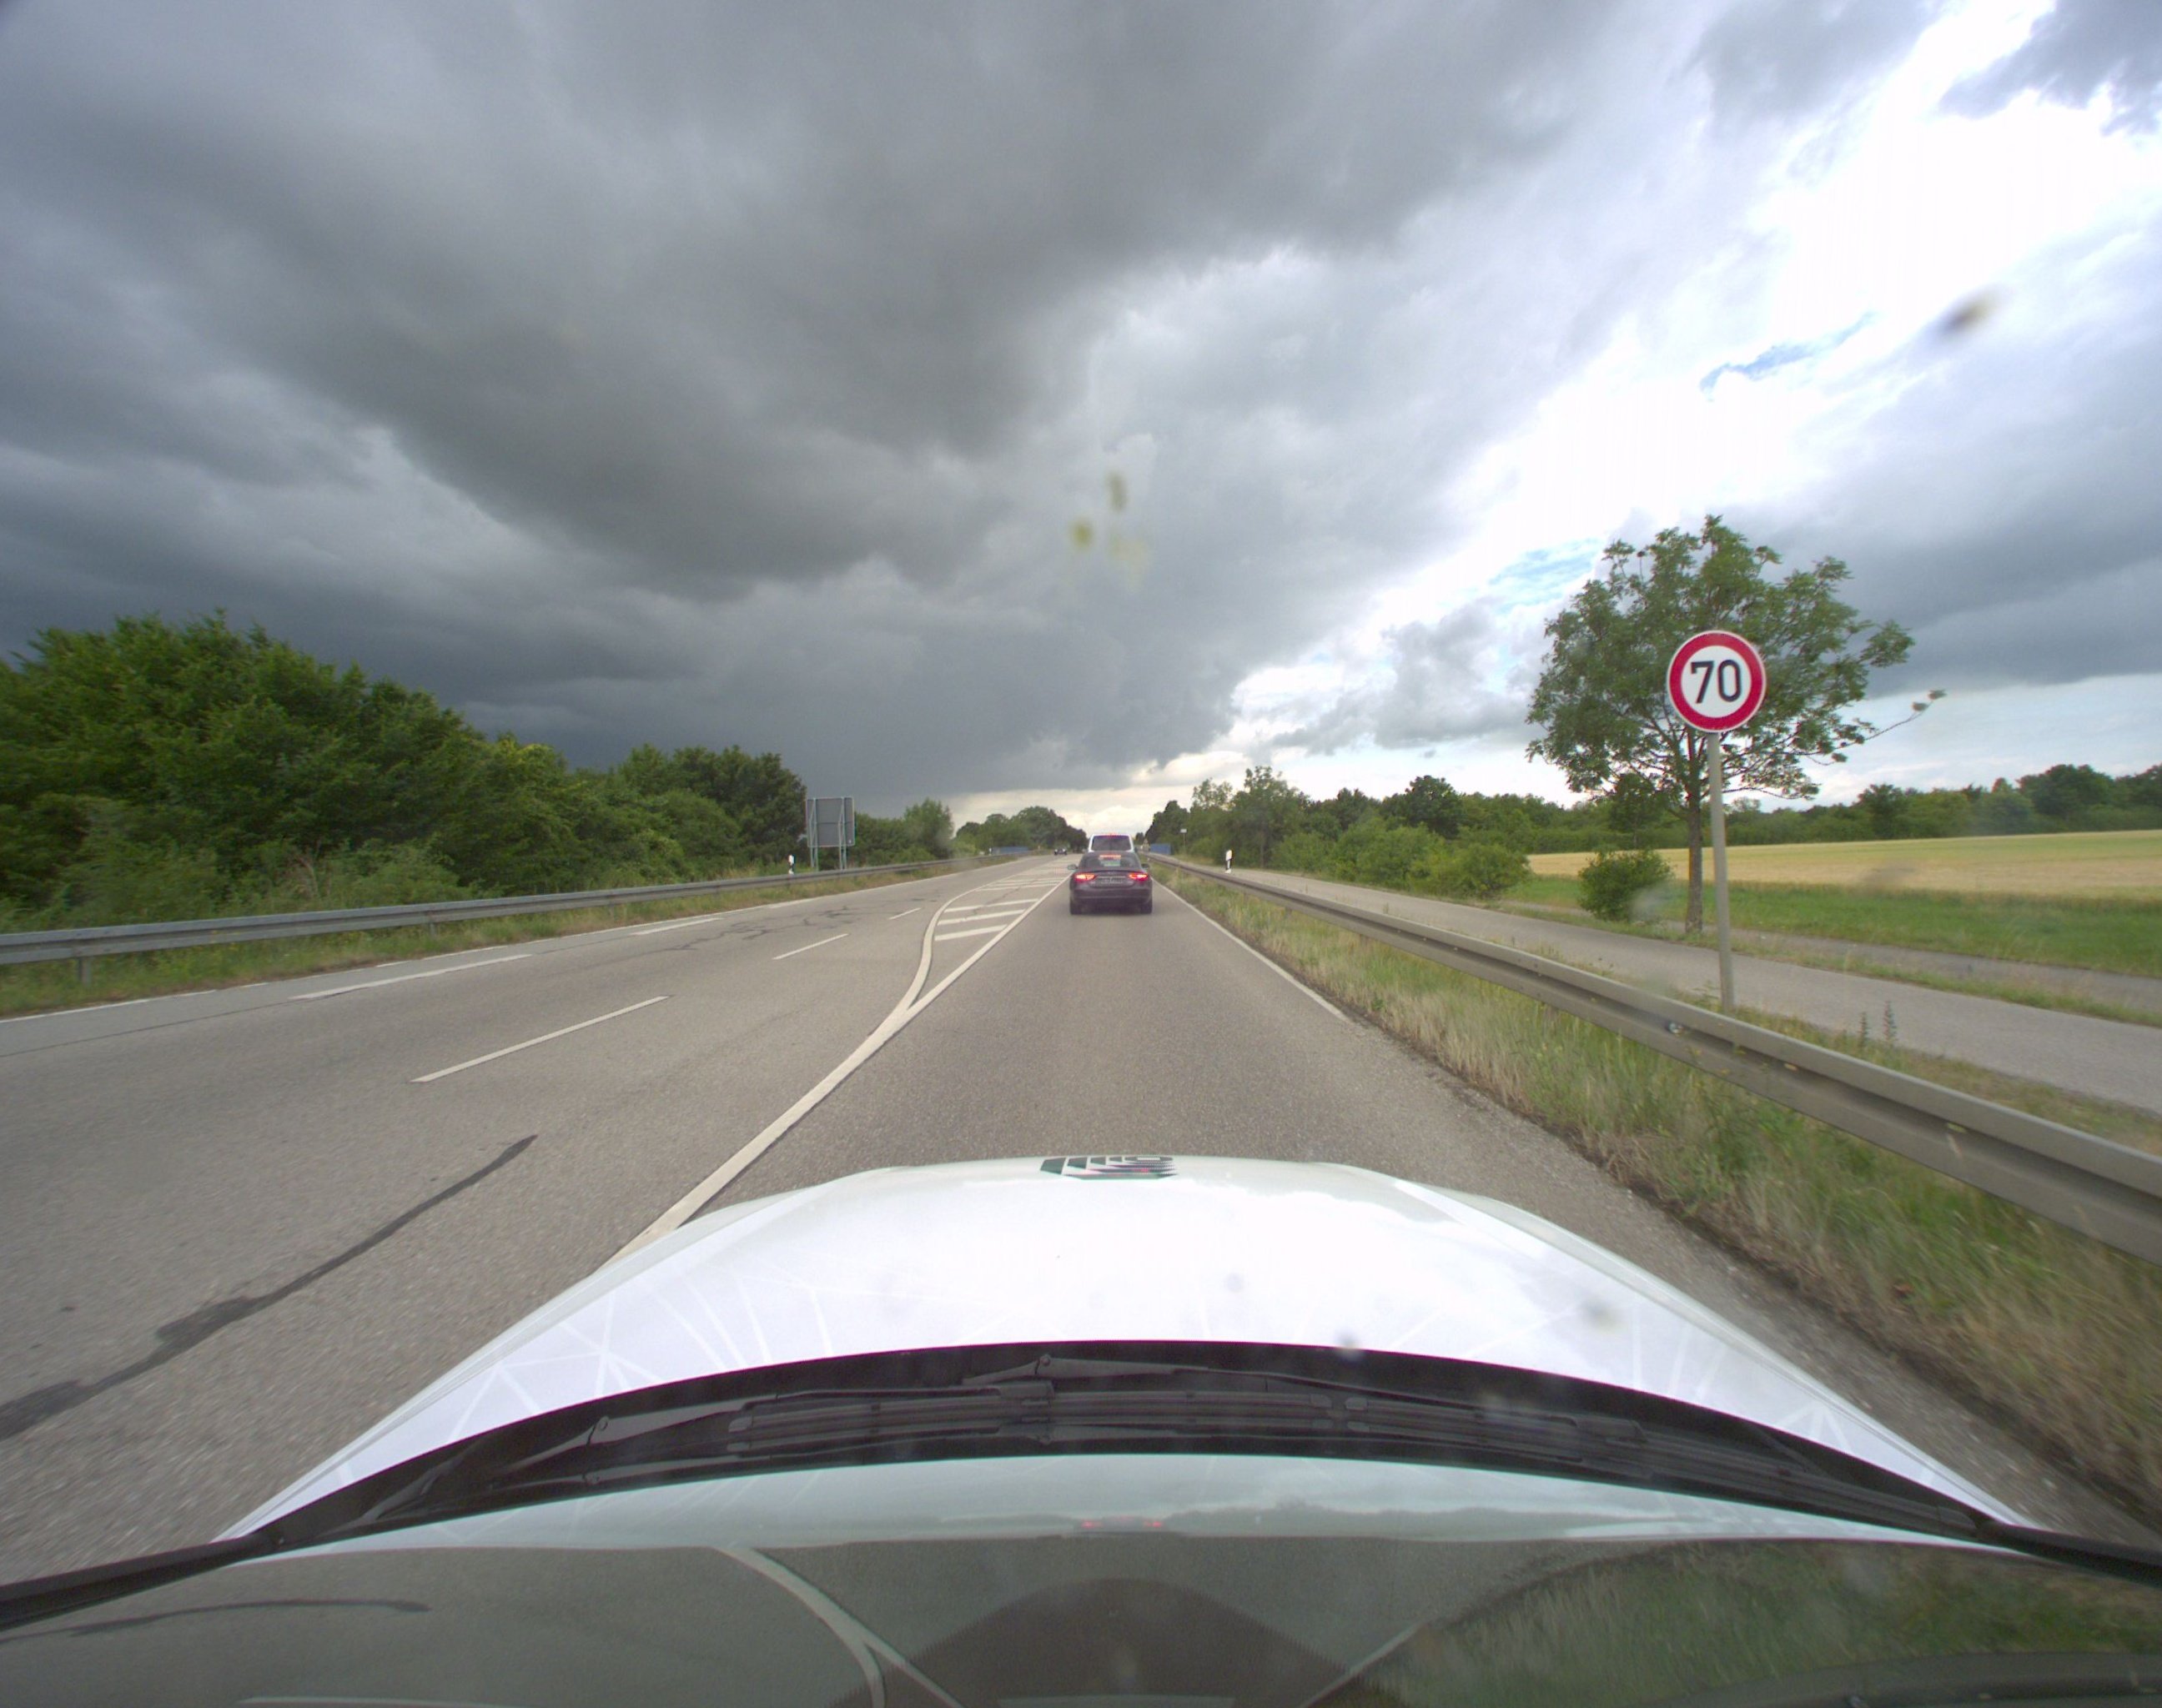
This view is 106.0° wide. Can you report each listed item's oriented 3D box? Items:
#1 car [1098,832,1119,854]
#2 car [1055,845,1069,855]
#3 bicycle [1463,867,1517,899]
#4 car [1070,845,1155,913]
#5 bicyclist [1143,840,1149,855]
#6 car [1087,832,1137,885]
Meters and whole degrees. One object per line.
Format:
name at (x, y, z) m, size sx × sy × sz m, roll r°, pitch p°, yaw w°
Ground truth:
car at (3.339, -1.360, 98.236) m, size 2.438 × 2.504 × 5.044 m, roll 0°, pitch 1°, yaw 2°
car at (-2.822, -0.551, 119.704) m, size 1.856 × 1.376 × 4.001 m, roll -1°, pitch 0°, yaw 1°
bicycle at (15.266, 1.056, 30.476) m, size 0.653 × 1.138 × 2.831 m, roll 0°, pitch 0°, yaw 1°
car at (0.725, 0.517, 19.093) m, size 1.779 × 1.423 × 4.002 m, roll 0°, pitch 0°, yaw 2°
bicyclist at (7.184, -0.743, 90.152) m, size 0.644 × 1.645 × 0.866 m, roll -2°, pitch 0°, yaw 1°
car at (1.169, 0.159, 31.130) m, size 1.779 × 1.889 × 4.002 m, roll 0°, pitch 0°, yaw 2°
